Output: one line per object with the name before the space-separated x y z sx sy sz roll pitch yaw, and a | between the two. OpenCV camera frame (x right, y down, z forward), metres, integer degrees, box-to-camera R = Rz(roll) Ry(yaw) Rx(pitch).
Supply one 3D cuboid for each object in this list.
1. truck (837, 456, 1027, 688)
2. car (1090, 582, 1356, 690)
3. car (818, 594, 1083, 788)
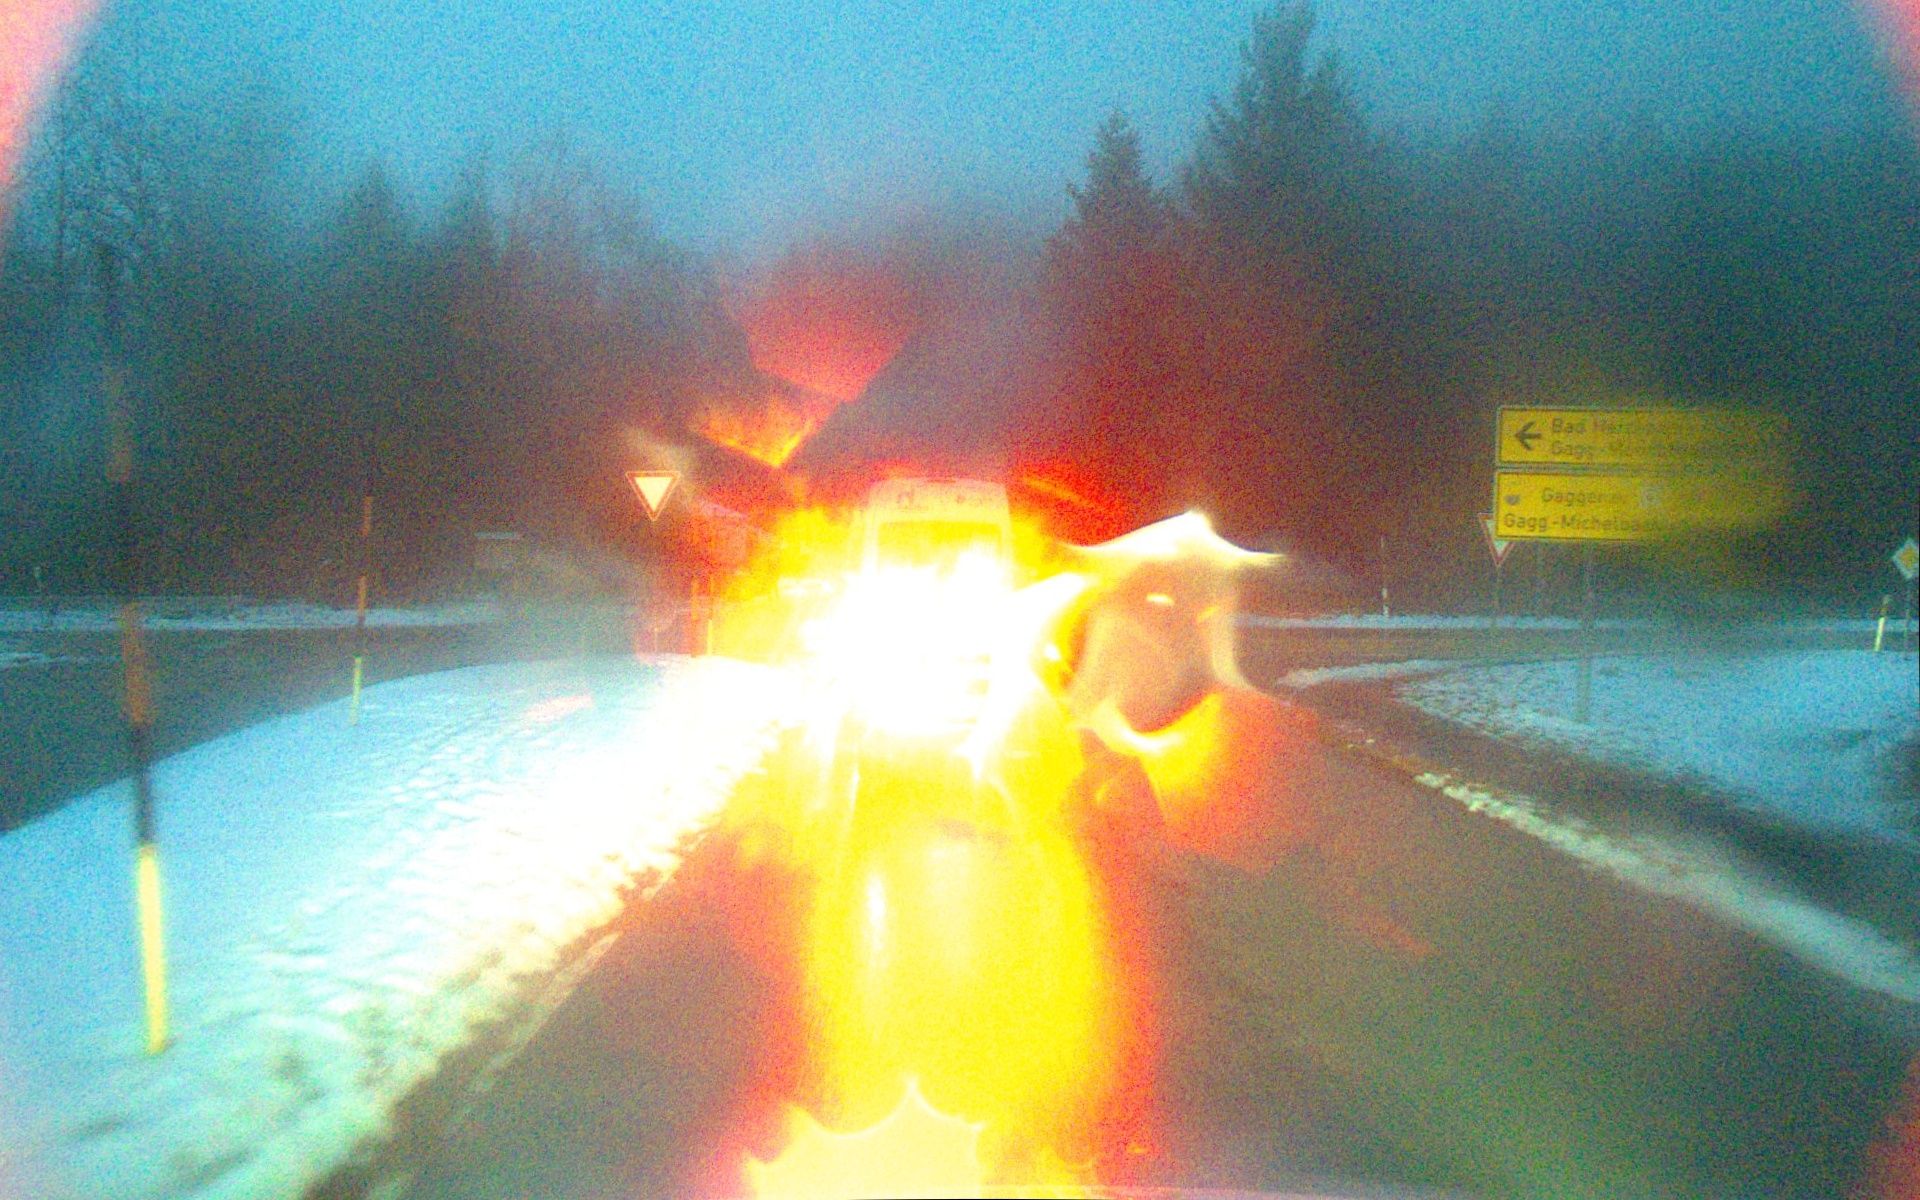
truck | -0.535 -0.336 22.939 2.036 2.794 5.311 1 0 -7
car | 5.193 0.711 32.772 4.916 1.979 1.680 2 0 -13
car | -0.112 0.648 13.899 1.883 1.299 3.999 1 1 -2
